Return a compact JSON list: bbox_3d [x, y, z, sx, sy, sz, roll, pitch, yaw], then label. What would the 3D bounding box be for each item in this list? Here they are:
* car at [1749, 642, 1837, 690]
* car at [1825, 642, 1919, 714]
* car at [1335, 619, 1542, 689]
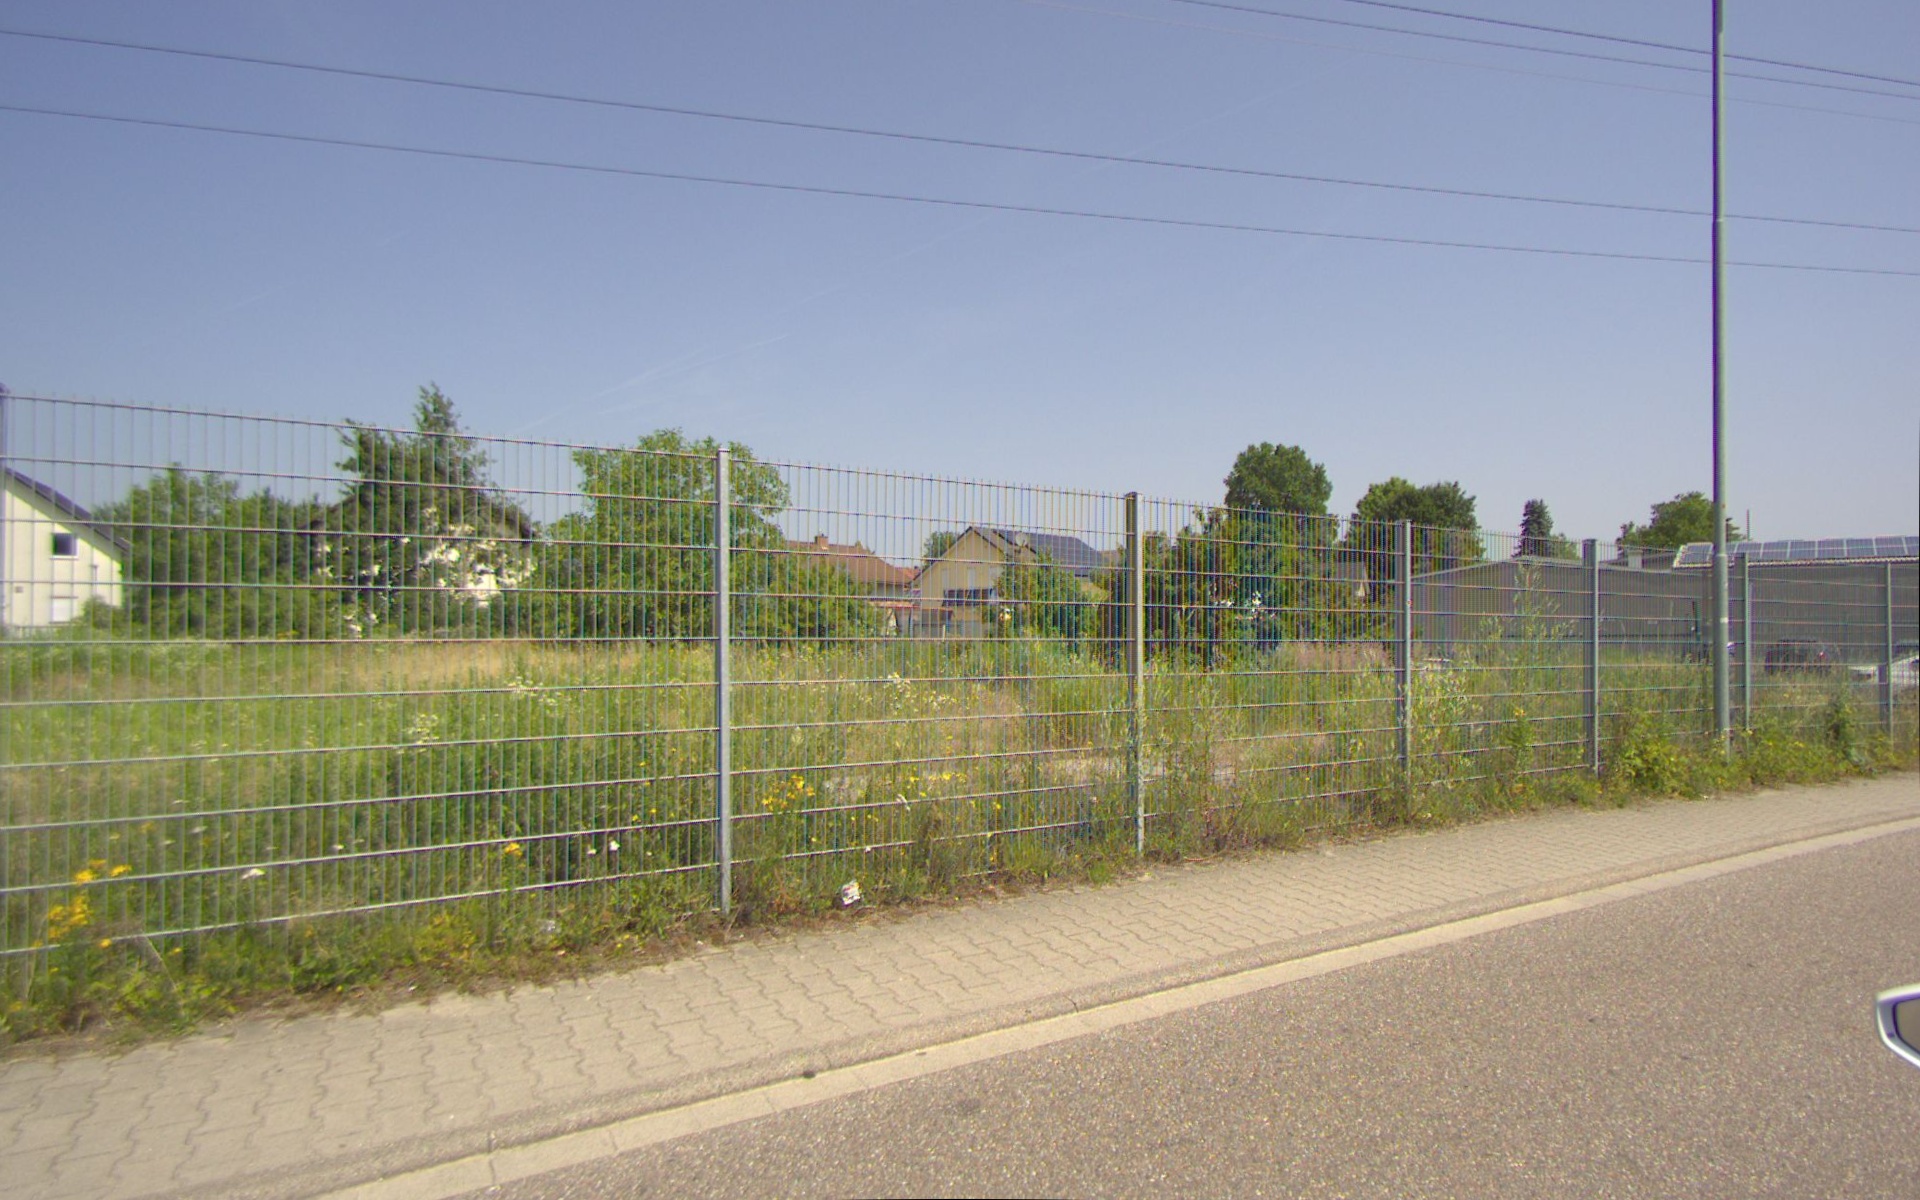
[{"bbox_3d":[27.788,2.155,33.606,1.837,1.433,3.432,0,-1,33],"label":"car"},{"bbox_3d":[19.452,1.516,19.151,4.496,1.324,1.859,0,-2,41],"label":"car"},{"bbox_3d":[12.025,1.300,25.396,4.373,1.583,2.032,0,-2,41],"label":"car"}]
